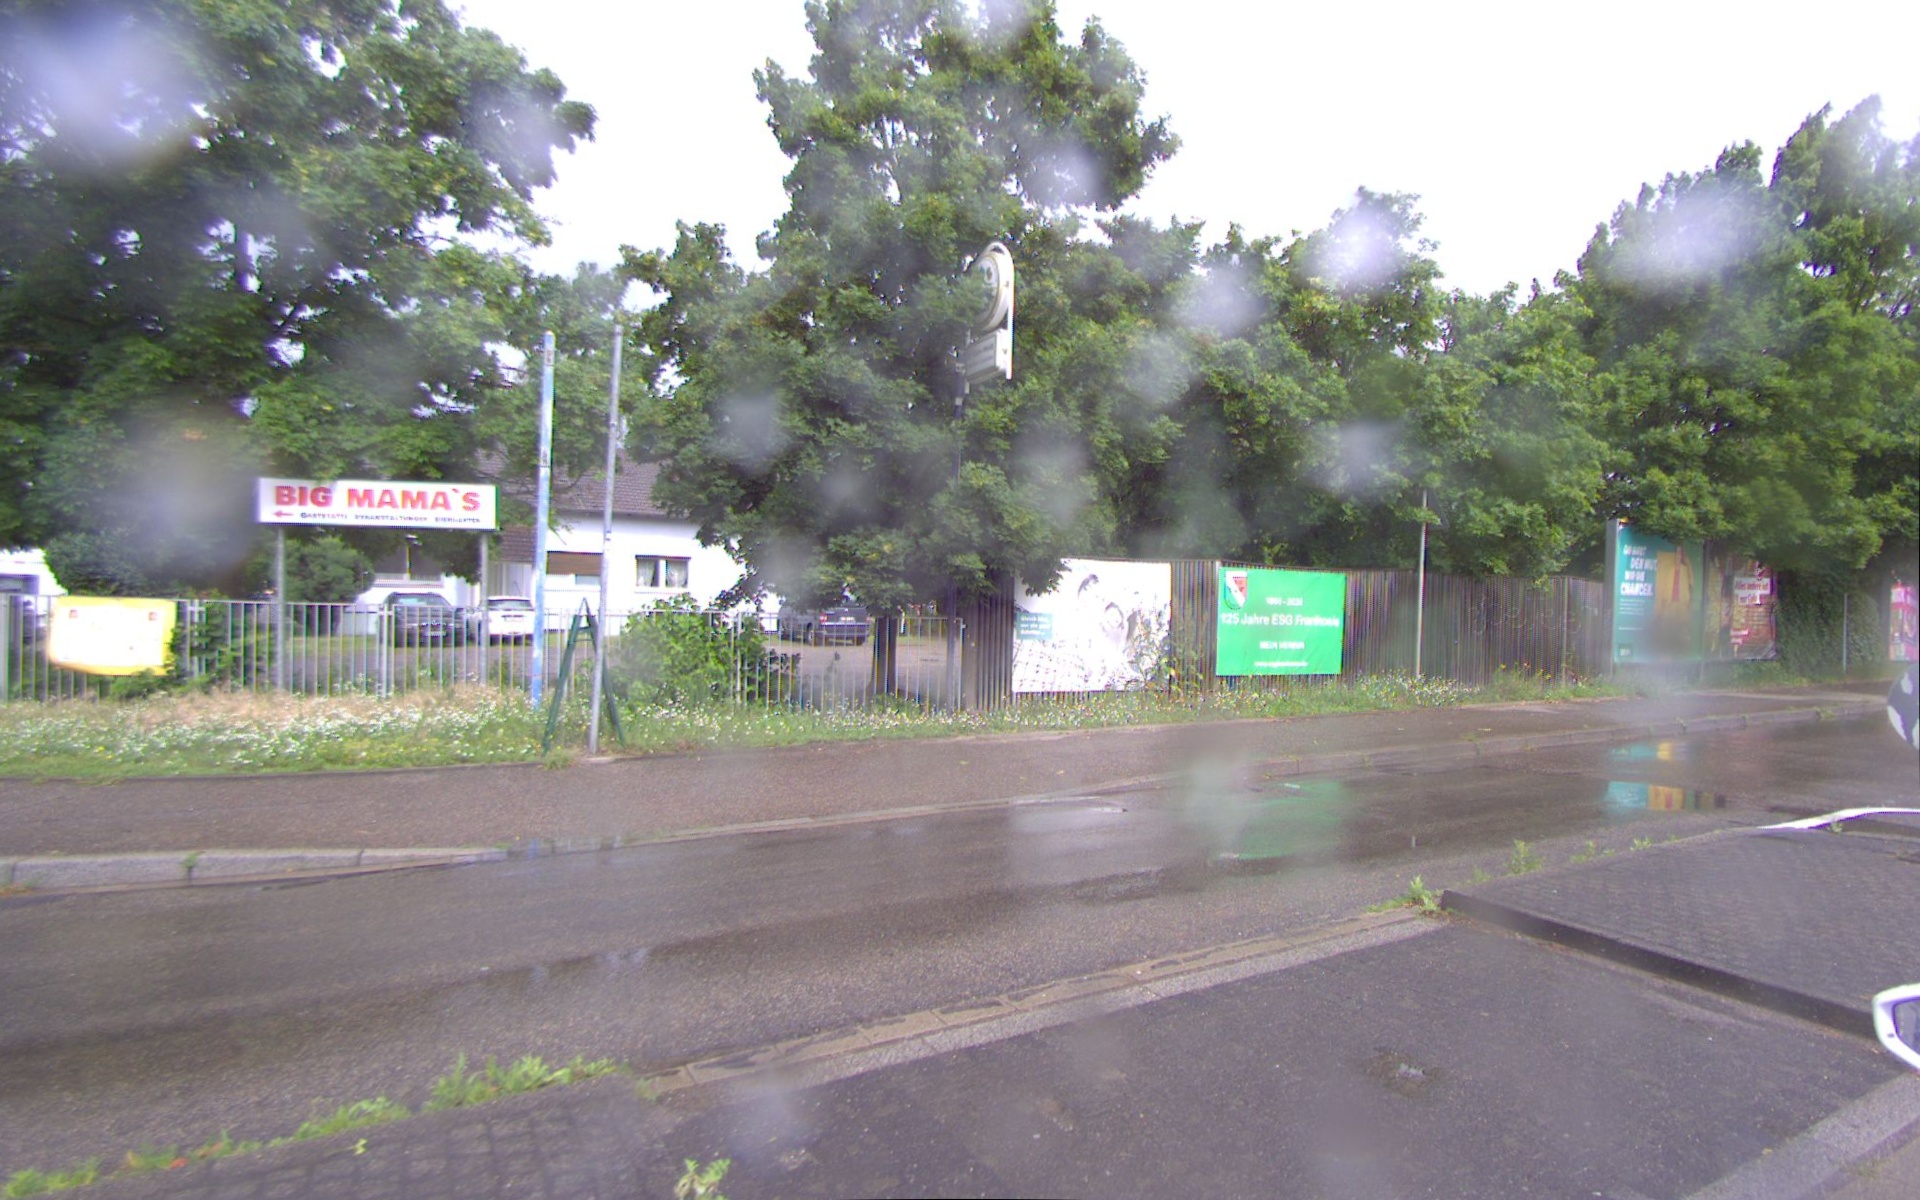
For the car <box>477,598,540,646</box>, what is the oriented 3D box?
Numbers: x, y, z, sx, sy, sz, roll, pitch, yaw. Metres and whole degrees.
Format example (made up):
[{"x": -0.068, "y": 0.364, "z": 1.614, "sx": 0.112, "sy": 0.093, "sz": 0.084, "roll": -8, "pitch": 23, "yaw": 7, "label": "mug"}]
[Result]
[{"x": -13.587, "y": 0.628, "z": 30.132, "sx": 1.373, "sy": 1.333, "sz": 3.892, "roll": 1, "pitch": 0, "yaw": -29, "label": "car"}]

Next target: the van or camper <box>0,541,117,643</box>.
[{"x": -28.585, "y": -0.246, "z": 31.547, "sx": 2.455, "sy": 2.985, "sz": 4.478, "roll": 1, "pitch": 0, "yaw": -31, "label": "van or camper"}]

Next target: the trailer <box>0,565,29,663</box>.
[{"x": -22.214, "y": 0.293, "z": 22.092, "sx": 1.825, "sy": 2.117, "sz": 4.075, "roll": 1, "pitch": 1, "yaw": -33, "label": "trailer"}]

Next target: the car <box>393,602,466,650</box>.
[{"x": -14.743, "y": 0.699, "z": 27.850, "sx": 1.646, "sy": 1.224, "sz": 3.357, "roll": 1, "pitch": 0, "yaw": -30, "label": "car"}]

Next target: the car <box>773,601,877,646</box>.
[{"x": -4.738, "y": 0.766, "z": 34.637, "sx": 1.977, "sy": 1.437, "sz": 4.507, "roll": 2, "pitch": -1, "yaw": -30, "label": "car"}]
